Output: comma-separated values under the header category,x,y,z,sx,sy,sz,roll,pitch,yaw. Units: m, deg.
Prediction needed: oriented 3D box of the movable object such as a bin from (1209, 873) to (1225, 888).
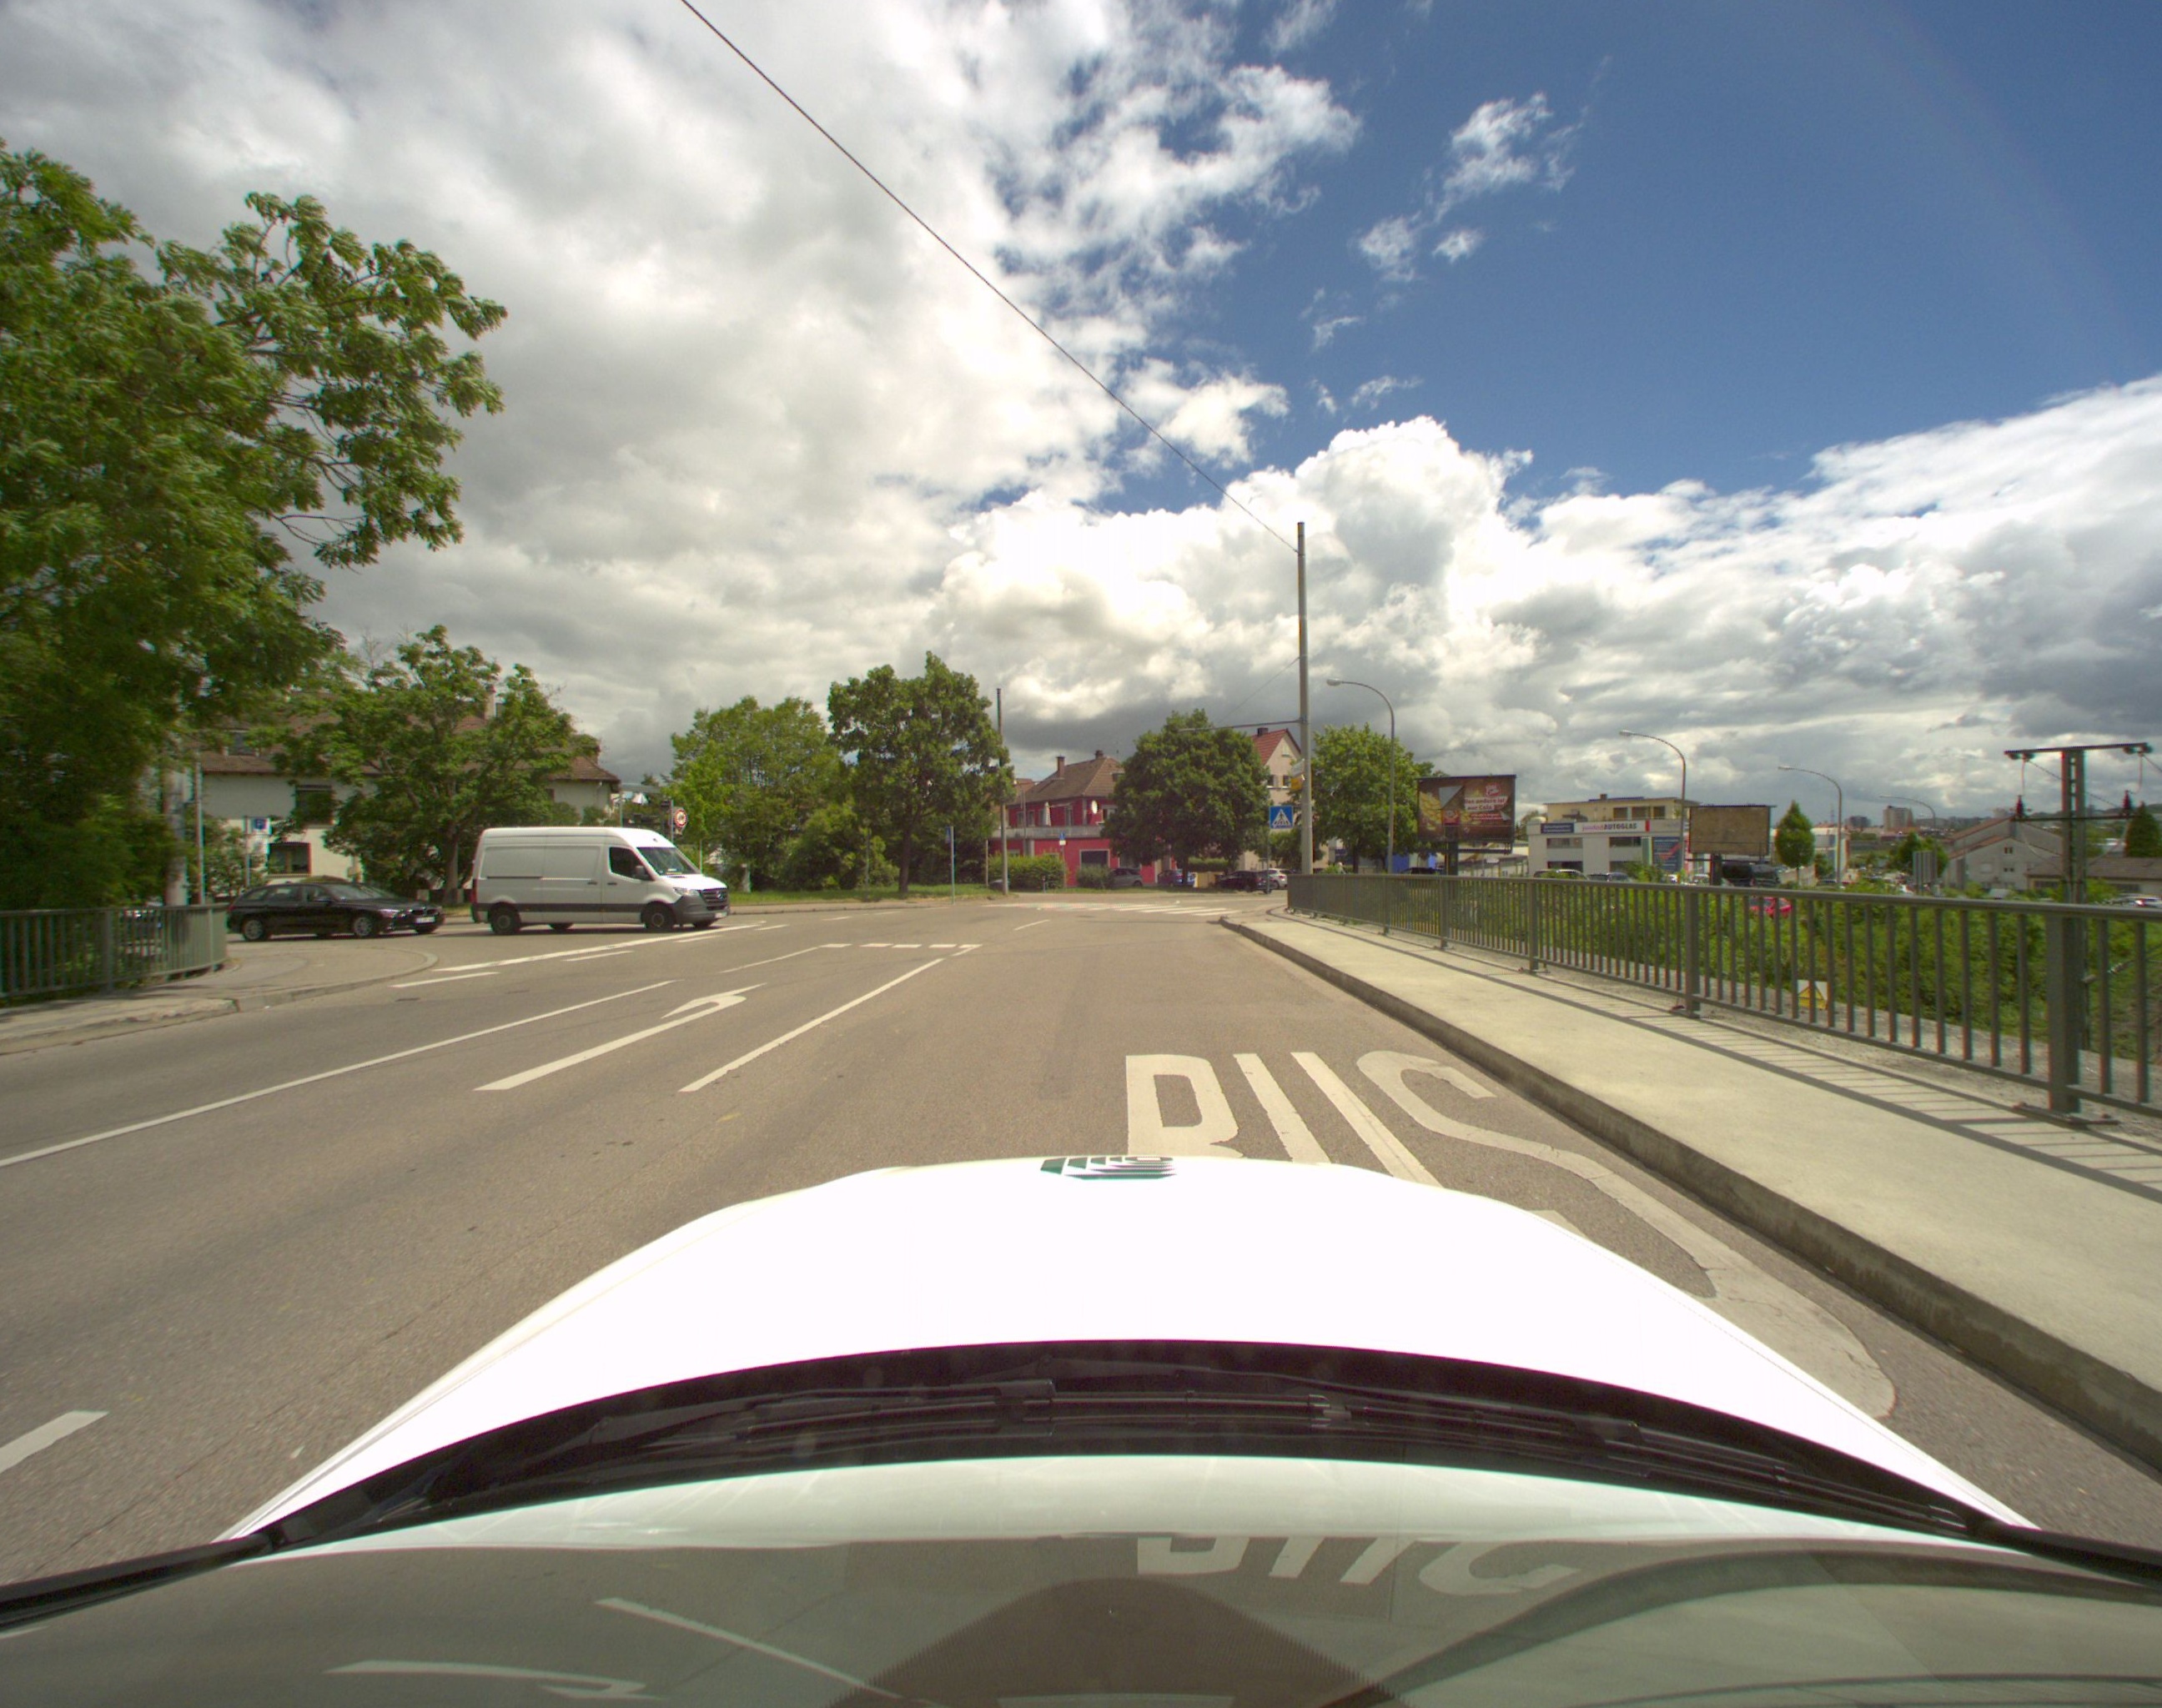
category,x,y,z,sx,sy,sz,roll,pitch,yaw
movable object such as a bin,9.883,1.897,59.252,0.882,1.061,0.752,1,0,-26

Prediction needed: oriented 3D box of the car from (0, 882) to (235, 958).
category,x,y,z,sx,sy,sz,roll,pitch,yaw
car,-24.369,1.609,20.285,4.374,1.588,1.999,-2,0,-1

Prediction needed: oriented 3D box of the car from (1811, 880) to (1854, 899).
category,x,y,z,sx,sy,sz,roll,pitch,yaw
car,59.581,2.826,64.542,2.916,1.506,1.780,2,-4,-33

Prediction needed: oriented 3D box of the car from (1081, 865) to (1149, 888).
category,x,y,z,sx,sy,sz,roll,pitch,yaw
car,2.192,1.429,51.850,4.090,1.425,1.629,1,0,-31

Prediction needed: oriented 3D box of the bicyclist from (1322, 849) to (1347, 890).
category,x,y,z,sx,sy,sz,roll,pitch,yaw
bicyclist,11.571,0.706,37.157,0.678,1.826,1.087,-2,-4,41

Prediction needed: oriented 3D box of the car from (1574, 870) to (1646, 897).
category,x,y,z,sx,sy,sz,roll,pitch,yaw
car,31.468,1.733,48.399,4.586,1.487,1.695,1,0,-30

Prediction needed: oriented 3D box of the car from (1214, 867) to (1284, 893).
category,x,y,z,sx,sy,sz,roll,pitch,yaw
car,10.225,1.567,49.779,2.005,1.393,4.105,1,0,-29

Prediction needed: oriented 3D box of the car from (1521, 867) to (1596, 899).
category,x,y,z,sx,sy,sz,roll,pitch,yaw
car,26.780,1.636,45.630,4.321,1.678,1.695,1,0,-30

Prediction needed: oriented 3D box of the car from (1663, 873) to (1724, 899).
category,x,y,z,sx,sy,sz,roll,pitch,yaw
car,38.342,2.001,50.992,3.970,1.479,1.694,1,0,-31

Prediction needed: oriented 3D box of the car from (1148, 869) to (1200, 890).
category,x,y,z,sx,sy,sz,roll,pitch,yaw
car,6.580,1.799,58.225,1.848,1.378,3.778,0,-1,-29

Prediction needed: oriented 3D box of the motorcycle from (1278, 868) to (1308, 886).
category,x,y,z,sx,sy,sz,roll,pitch,yaw
motorcycle,16.477,1.783,63.240,2.243,1.315,0.911,2,0,-31

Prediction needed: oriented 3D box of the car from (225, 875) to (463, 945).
category,x,y,z,sx,sy,sz,roll,pitch,yaw
car,-18.348,1.374,20.418,4.197,1.474,2.002,-2,0,3

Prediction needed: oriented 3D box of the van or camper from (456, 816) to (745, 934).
category,x,y,z,sx,sy,sz,roll,pitch,yaw
van or camper,-11.737,0.529,20.159,5.882,2.567,2.196,-2,-1,4

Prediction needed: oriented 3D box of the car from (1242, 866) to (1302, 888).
category,x,y,z,sx,sy,sz,roll,pitch,yaw
car,13.208,1.579,56.532,1.883,1.404,3.891,1,-2,-33
